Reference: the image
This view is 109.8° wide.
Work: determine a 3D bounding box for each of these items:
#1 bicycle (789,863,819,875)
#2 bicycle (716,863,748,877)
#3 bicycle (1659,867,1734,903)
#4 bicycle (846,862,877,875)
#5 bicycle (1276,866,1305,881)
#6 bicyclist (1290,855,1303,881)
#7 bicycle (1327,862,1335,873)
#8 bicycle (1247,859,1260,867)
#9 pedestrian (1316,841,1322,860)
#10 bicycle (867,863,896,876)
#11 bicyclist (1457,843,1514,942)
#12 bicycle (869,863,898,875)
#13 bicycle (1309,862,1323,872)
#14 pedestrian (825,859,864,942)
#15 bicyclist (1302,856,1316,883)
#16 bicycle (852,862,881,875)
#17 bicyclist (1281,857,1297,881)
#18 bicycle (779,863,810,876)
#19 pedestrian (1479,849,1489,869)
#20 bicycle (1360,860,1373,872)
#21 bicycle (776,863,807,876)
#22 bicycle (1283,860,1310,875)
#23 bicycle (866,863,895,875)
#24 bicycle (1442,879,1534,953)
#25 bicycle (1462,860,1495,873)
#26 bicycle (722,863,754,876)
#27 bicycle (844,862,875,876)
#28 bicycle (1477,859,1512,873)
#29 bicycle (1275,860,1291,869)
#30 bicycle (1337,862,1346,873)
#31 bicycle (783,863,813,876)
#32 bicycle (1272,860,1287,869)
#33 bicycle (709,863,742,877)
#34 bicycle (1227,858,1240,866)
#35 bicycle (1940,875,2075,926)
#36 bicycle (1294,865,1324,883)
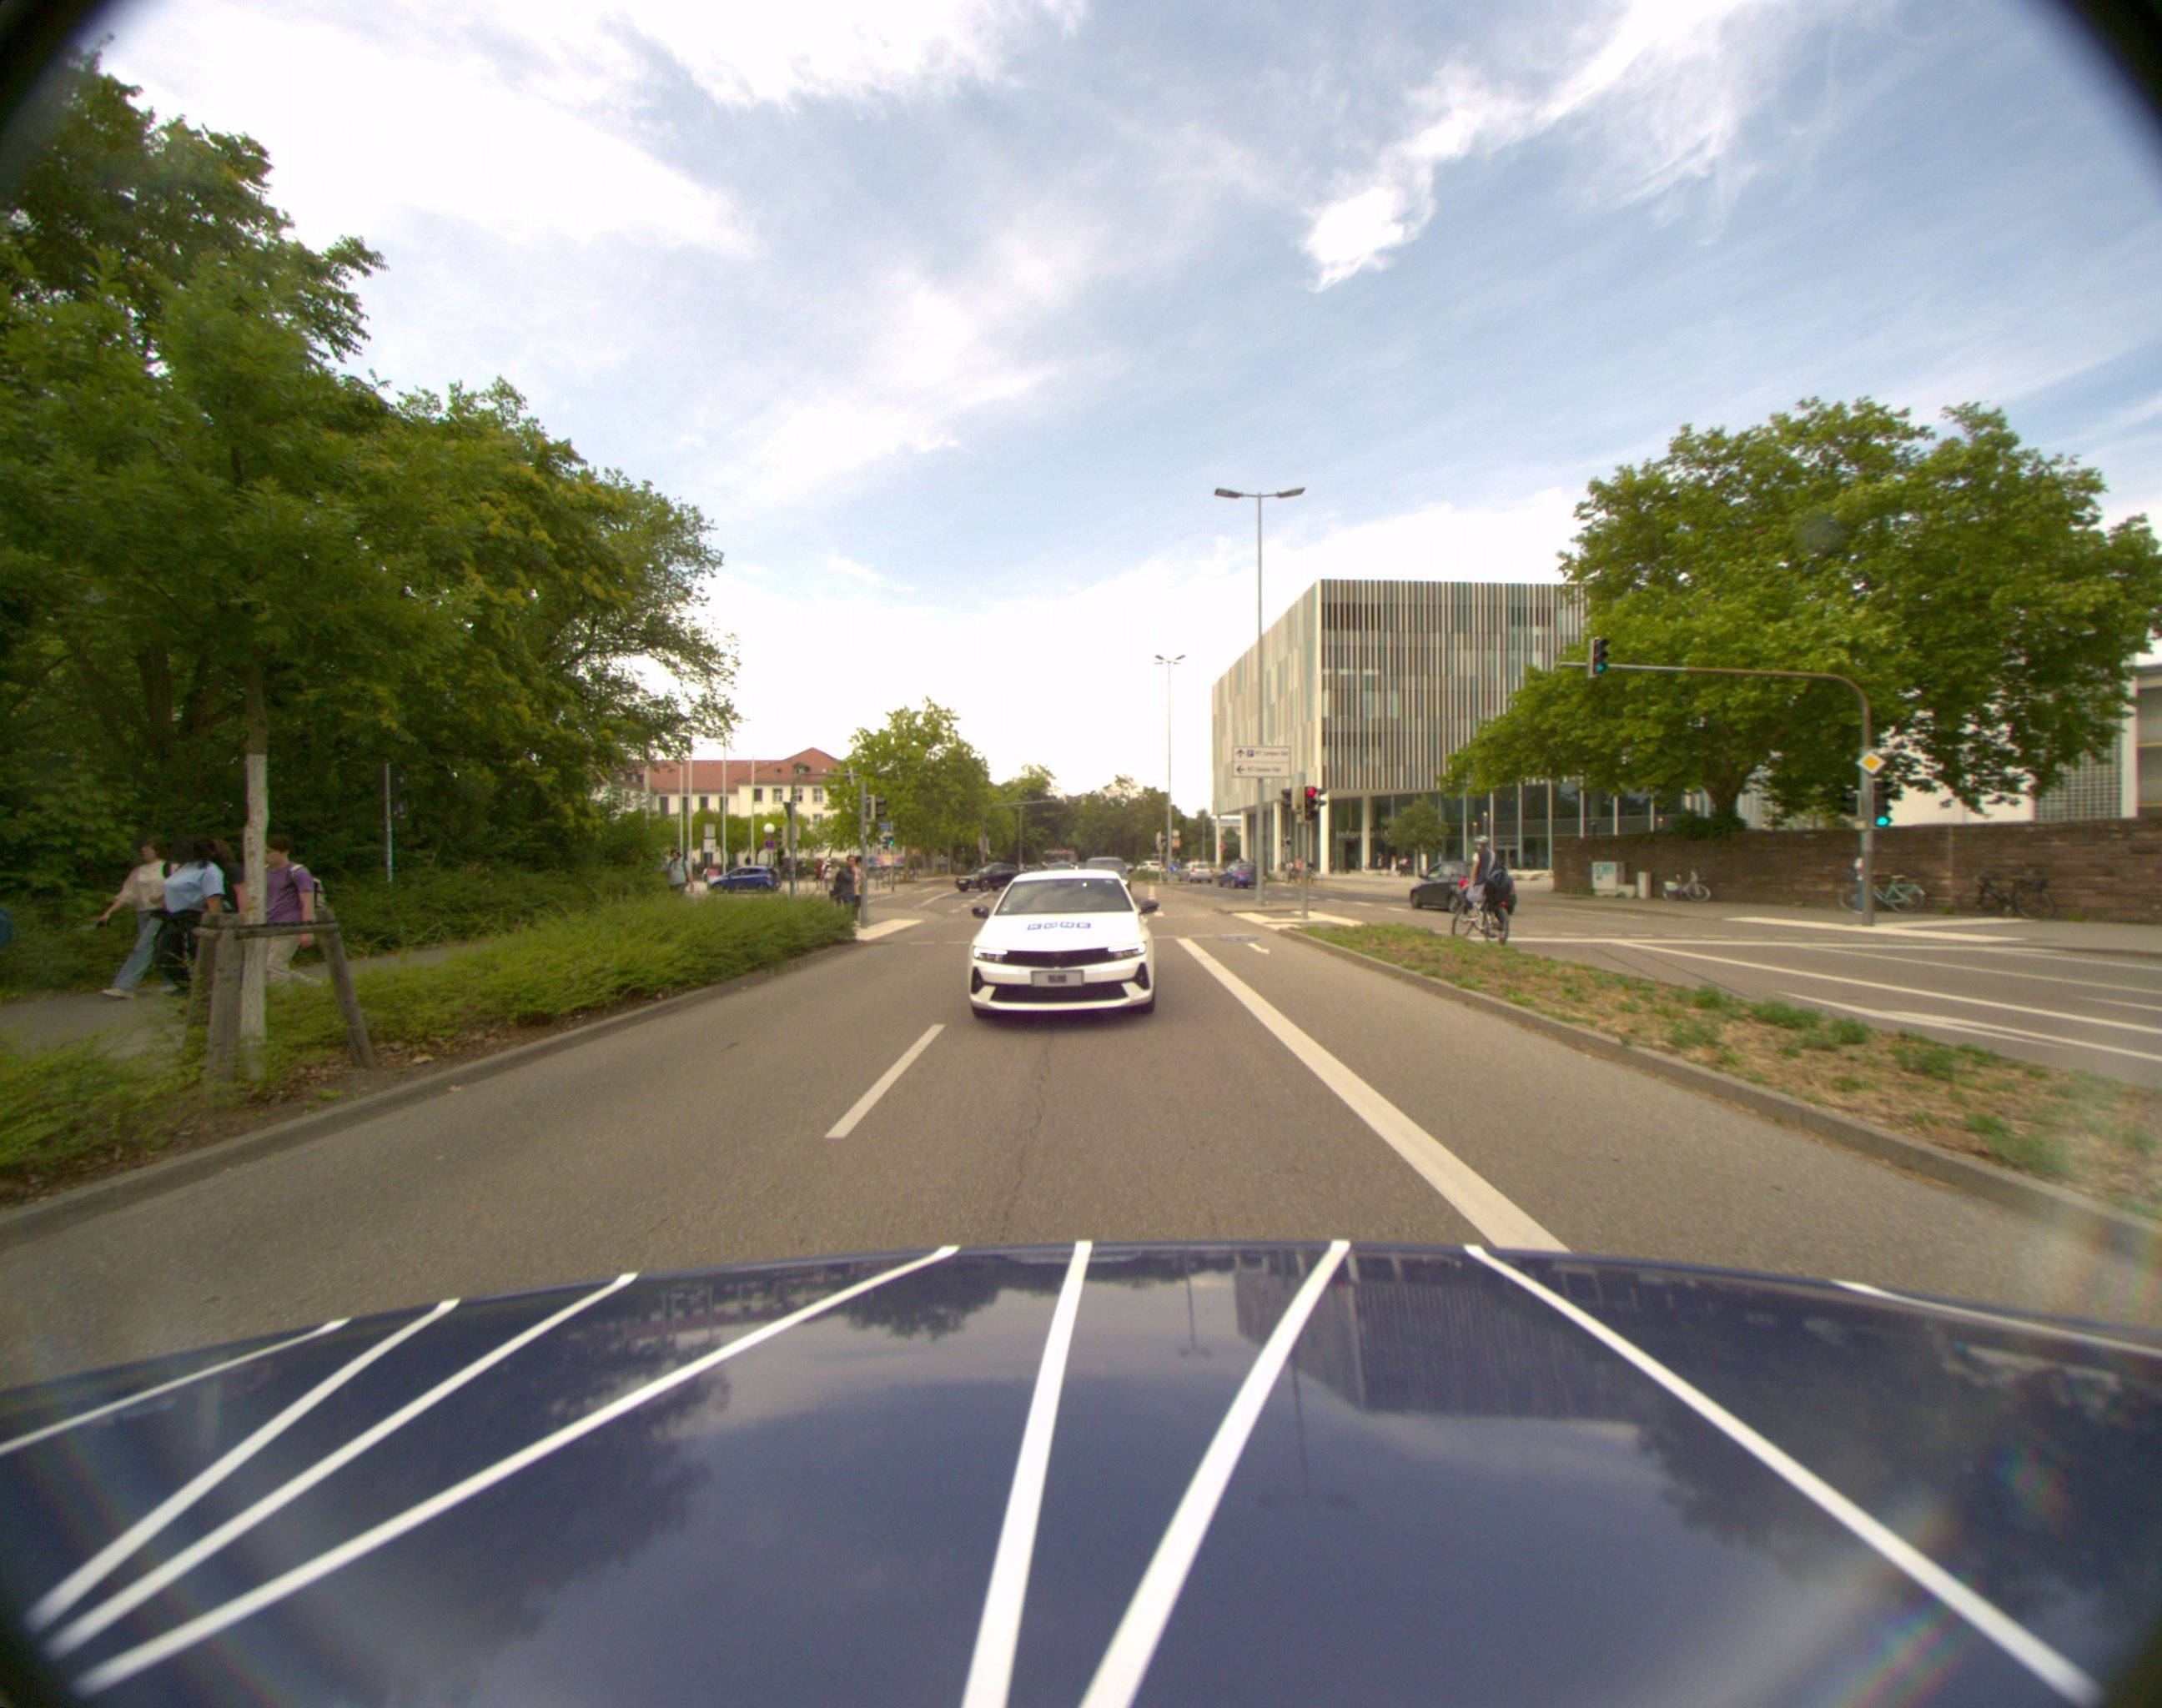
[{"bbox_3d":[-25.575,1.382,70.213,2.472,1.136,0.718,-1,0,-1],"label":"bicycle"},{"bbox_3d":[-30.685,1.392,66.759,2.472,1.136,0.718,-1,0,-1],"label":"bicycle"},{"bbox_3d":[20.509,1.008,25.388,0.579,1.119,2.164,-3,0,-4],"label":"bicycle"},{"bbox_3d":[-19.321,1.245,66.902,2.472,1.136,0.718,-1,0,-1],"label":"bicycle"},{"bbox_3d":[14.908,1.391,54.040,1.823,0.983,0.727,-2,1,-16],"label":"bicycle"},{"bbox_3d":[14.828,0.960,52.223,0.602,1.796,0.561,-2,1,-16],"label":"bicyclist"},{"bbox_3d":[23.663,1.290,71.874,0.393,0.932,1.601,-2,0,31],"label":"bicycle"},{"bbox_3d":[22.015,1.162,96.898,1.582,1.017,0.389,-2,1,-7],"label":"bicycle"},{"bbox_3d":[26.038,-0.392,83.137,0.512,2.031,0.624,0,-1,-4],"label":"pedestrian"},{"bbox_3d":[-18.320,1.445,69.761,2.472,1.136,0.718,-1,0,-1],"label":"bicycle"},{"bbox_3d":[6.540,0.612,12.303,0.573,1.564,0.699,0,0,5],"label":"bicyclist"},{"bbox_3d":[-18.612,1.385,71.592,2.472,1.136,0.718,-1,0,-1],"label":"bicycle"},{"bbox_3d":[22.826,1.253,73.786,1.613,0.932,0.393,-2,1,-35],"label":"bicycle"},{"bbox_3d":[-5.015,0.975,16.146,0.603,1.725,0.654,0,0,-1],"label":"pedestrian"},{"bbox_3d":[15.175,1.051,50.549,0.602,1.796,0.561,1,0,-19],"label":"bicyclist"},{"bbox_3d":[-19.387,1.277,68.717,2.472,1.136,0.718,-1,0,-1],"label":"bicycle"},{"bbox_3d":[14.777,1.086,54.001,0.729,1.663,0.723,-2,1,-16],"label":"bicyclist"},{"bbox_3d":[-25.527,1.387,67.782,2.472,1.136,0.718,-1,0,-1],"label":"bicycle"},{"bbox_3d":[35.521,0.418,66.958,0.635,1.768,0.598,0,1,43],"label":"pedestrian"},{"bbox_3d":[25.984,1.107,69.100,1.549,1.023,0.393,-3,1,-39],"label":"bicycle"},{"bbox_3d":[-25.514,1.354,66.950,2.472,1.136,0.718,-1,0,-1],"label":"bicycle"},{"bbox_3d":[14.830,0.921,52.238,1.693,0.983,0.571,-2,1,-16],"label":"bicycle"},{"bbox_3d":[-18.680,1.391,70.679,2.472,1.136,0.718,-1,0,-1],"label":"bicycle"},{"bbox_3d":[6.511,0.956,12.263,0.574,1.049,1.927,0,0,5],"label":"bicycle"},{"bbox_3d":[32.193,0.987,61.537,2.685,0.993,0.672,0,0,-17],"label":"bicycle"},{"bbox_3d":[-30.728,1.388,68.080,2.472,1.136,0.718,-1,0,-1],"label":"bicycle"},{"bbox_3d":[-19.108,1.286,65.663,2.472,1.136,0.718,-1,0,-1],"label":"bicycle"},{"bbox_3d":[32.613,0.934,59.881,2.685,1.083,0.796,0,0,-17],"label":"bicycle"},{"bbox_3d":[22.372,1.207,84.143,1.546,0.932,0.394,-2,1,-7],"label":"bicycle"},{"bbox_3d":[24.397,1.237,71.197,0.393,0.932,1.601,-2,0,31],"label":"bicycle"},{"bbox_3d":[-25.547,1.384,68.578,2.472,1.136,0.718,-1,0,-1],"label":"bicycle"},{"bbox_3d":[22.186,1.210,84.793,1.546,0.932,0.389,-2,1,-7],"label":"bicycle"},{"bbox_3d":[-30.657,1.397,65.562,2.472,1.136,0.718,-1,0,-1],"label":"bicycle"},{"bbox_3d":[21.589,1.123,107.313,1.704,1.017,0.434,-2,1,-7],"label":"bicycle"},{"bbox_3d":[21.502,1.057,17.703,0.550,1.052,1.980,-3,0,-6],"label":"bicycle"},{"bbox_3d":[15.195,1.351,50.577,1.897,1.163,0.606,0,0,-17],"label":"bicycle"}]
